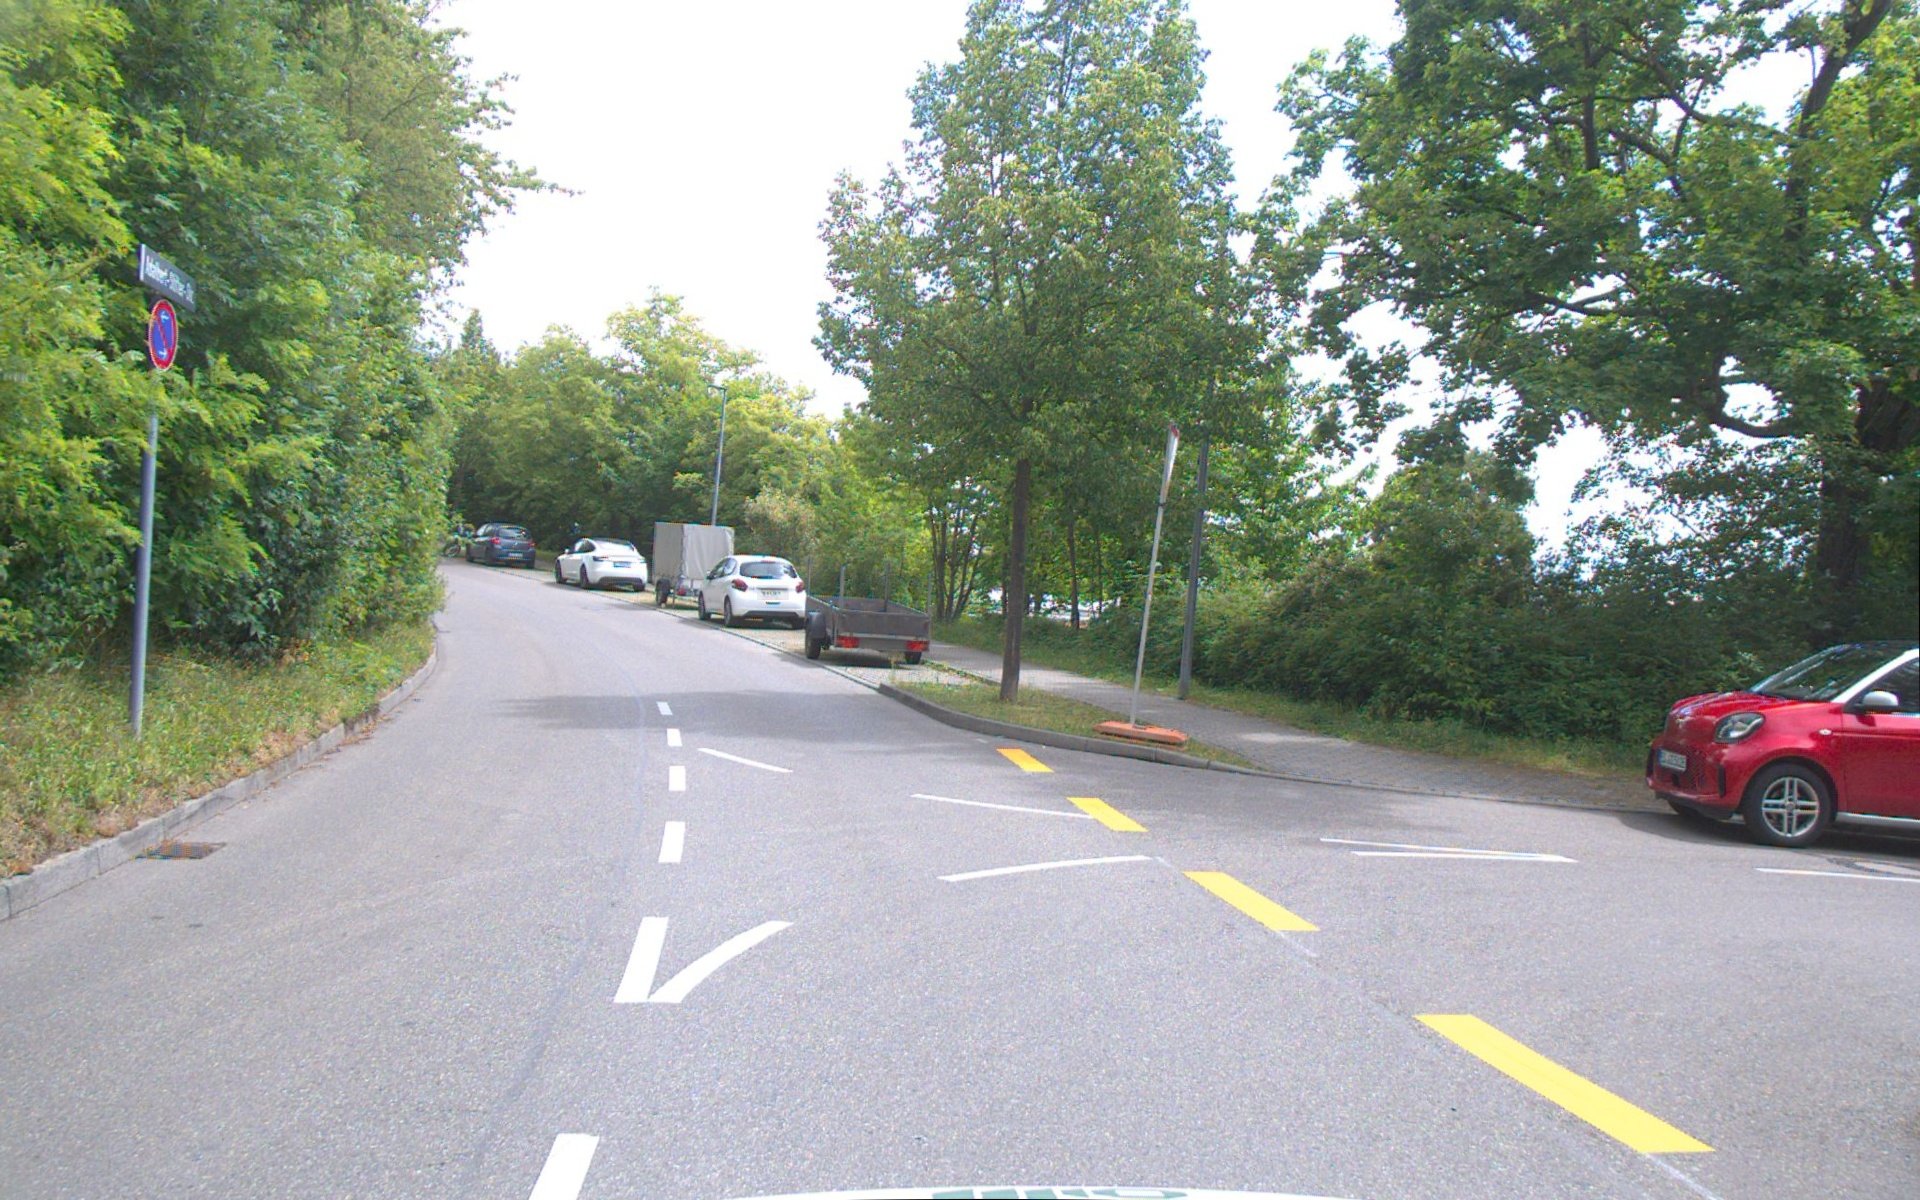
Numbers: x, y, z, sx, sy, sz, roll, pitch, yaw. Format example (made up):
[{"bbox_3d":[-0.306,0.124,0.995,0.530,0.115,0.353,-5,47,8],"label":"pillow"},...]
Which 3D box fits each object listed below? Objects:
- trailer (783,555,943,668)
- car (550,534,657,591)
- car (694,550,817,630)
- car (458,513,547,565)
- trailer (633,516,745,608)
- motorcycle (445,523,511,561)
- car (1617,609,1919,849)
[{"bbox_3d":[-1.668,0.132,26.997,1.755,1.552,3.985,3,2,-16],"label":"trailer"},{"bbox_3d":[-10.650,-1.143,49.154,1.866,1.399,4.310,3,2,-30],"label":"car"},{"bbox_3d":[-4.482,-0.255,35.829,1.743,1.435,3.978,2,3,-20],"label":"car"},{"bbox_3d":[-16.473,-2.200,59.411,1.869,1.716,4.303,-1,4,-33],"label":"car"},{"bbox_3d":[-6.906,-0.999,41.826,1.718,2.147,3.969,2,2,-26],"label":"trailer"},{"bbox_3d":[-18.235,-2.199,62.589,2.121,1.287,1.071,3,4,6],"label":"motorcycle"},{"bbox_3d":[7.098,1.005,12.516,3.463,1.506,1.783,5,1,3],"label":"car"}]
